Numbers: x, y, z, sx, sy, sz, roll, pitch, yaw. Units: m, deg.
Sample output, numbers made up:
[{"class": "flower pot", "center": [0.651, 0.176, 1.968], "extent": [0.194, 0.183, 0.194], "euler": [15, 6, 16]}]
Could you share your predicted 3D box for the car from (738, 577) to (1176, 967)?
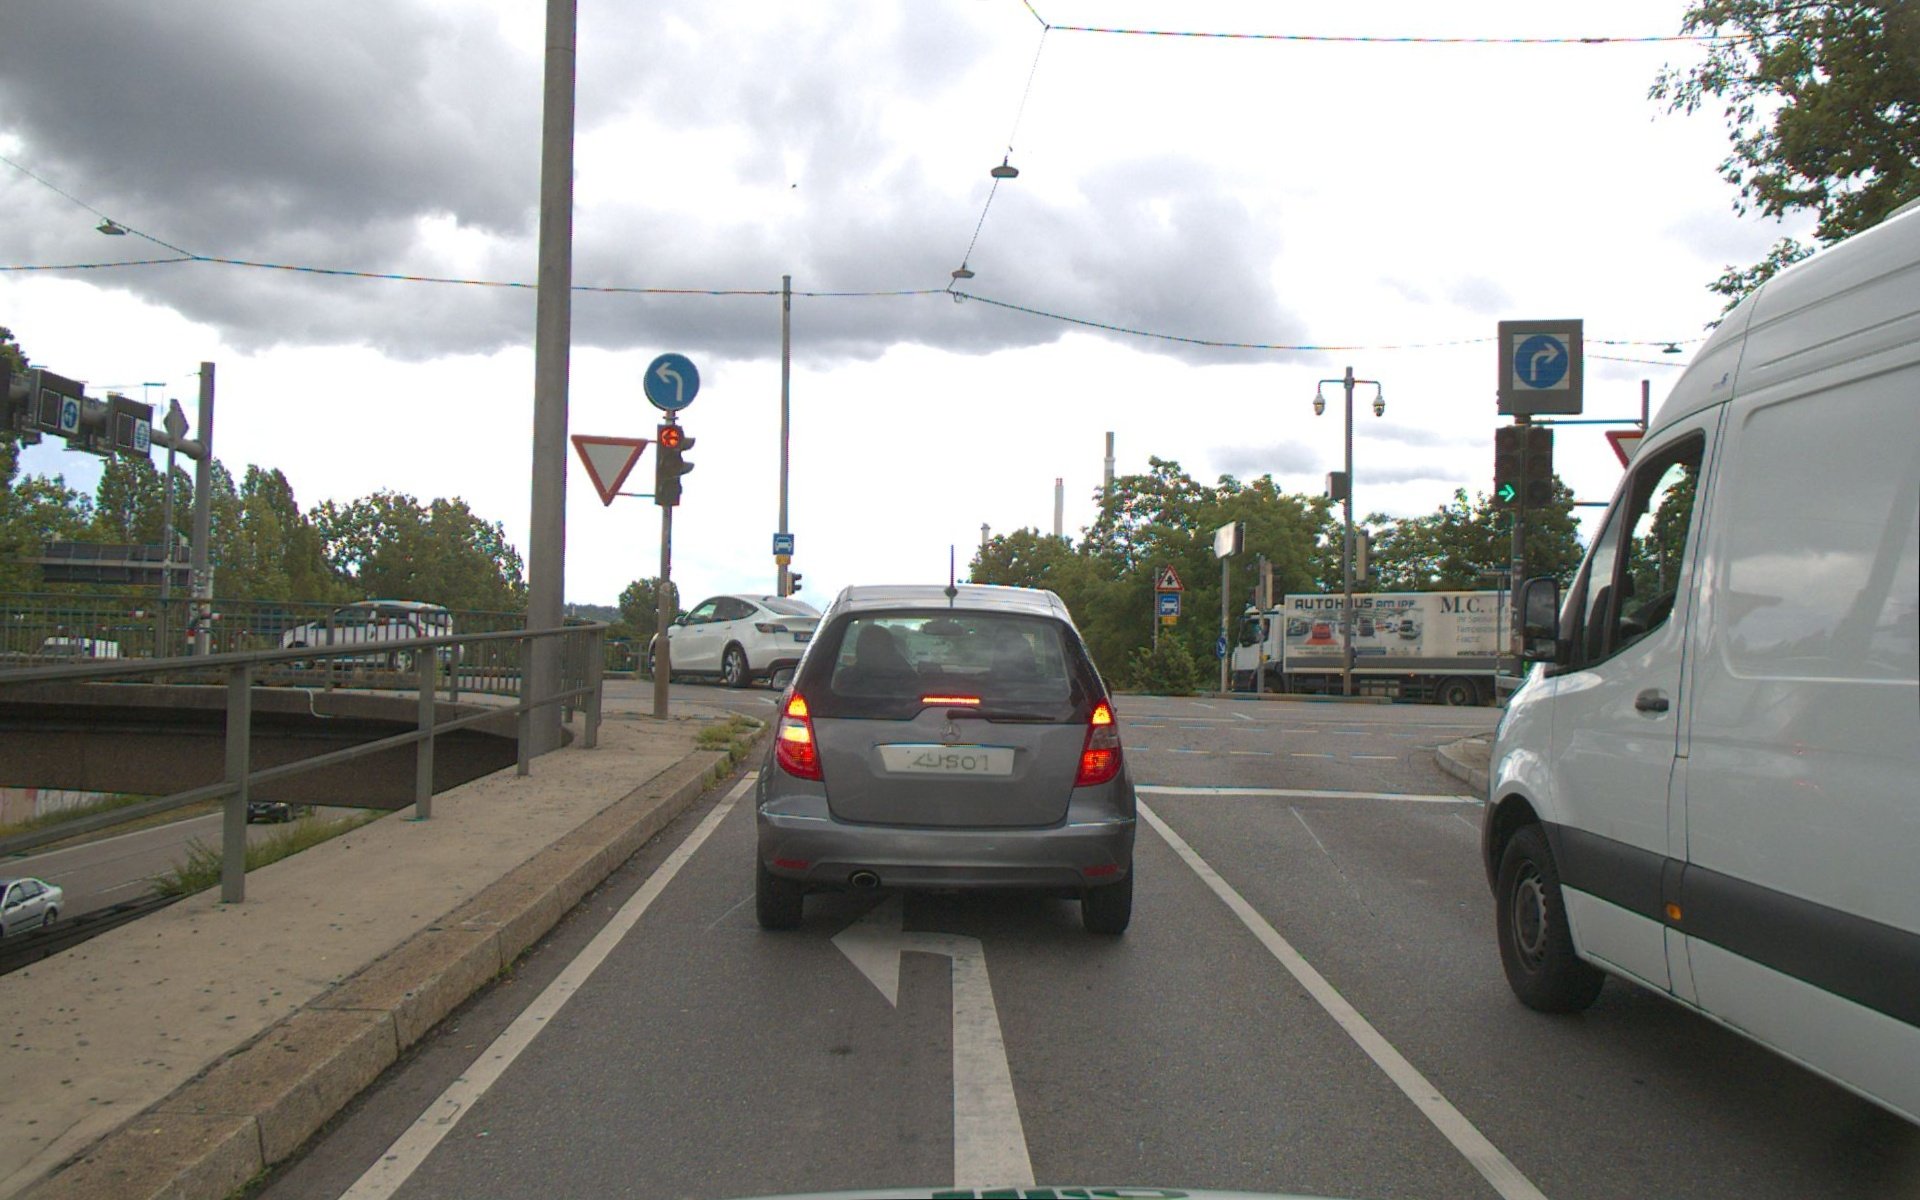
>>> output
[{"class": "car", "center": [0.030, 0.695, 8.941], "extent": [1.819, 1.616, 4.001], "euler": [1, 1, 1]}]

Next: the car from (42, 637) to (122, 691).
[{"class": "car", "center": [-39.154, 2.834, 73.837], "extent": [1.819, 2.254, 3.659], "euler": [1, 0, -5]}]

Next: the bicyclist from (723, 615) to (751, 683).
[{"class": "bicyclist", "center": [-5.748, 1.255, 42.604], "extent": [0.641, 1.703, 0.867], "euler": [1, 0, -11]}]

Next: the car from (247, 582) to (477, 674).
[{"class": "car", "center": [-12.030, 0.531, 33.402], "extent": [3.902, 1.747, 1.939], "euler": [1, 0, 11]}]

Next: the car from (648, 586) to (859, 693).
[{"class": "car", "center": [-3.779, 0.639, 29.616], "extent": [1.916, 1.747, 4.350], "euler": [0, 0, -36]}]

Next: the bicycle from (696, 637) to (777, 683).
[{"class": "bicycle", "center": [-5.762, 1.545, 42.590], "extent": [1.996, 1.144, 0.926], "euler": [1, 0, -12]}]

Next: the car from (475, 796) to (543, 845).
[{"class": "car", "center": [-17.394, 8.493, 63.947], "extent": [1.524, 1.580, 3.682], "euler": [1, -3, 1]}]

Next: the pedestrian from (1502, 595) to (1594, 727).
[{"class": "pedestrian", "center": [7.800, 0.819, 21.994], "extent": [0.816, 1.707, 0.978], "euler": [0, -3, -4]}]

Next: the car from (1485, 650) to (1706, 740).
[{"class": "car", "center": [13.110, 1.949, 34.289], "extent": [3.904, 1.694, 1.813], "euler": [1, 0, 1]}]

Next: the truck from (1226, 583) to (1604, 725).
[{"class": "truck", "center": [12.695, 1.370, 46.939], "extent": [10.047, 3.580, 2.787], "euler": [1, 0, 37]}]

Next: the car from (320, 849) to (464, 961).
[{"class": "car", "center": [-13.348, 7.150, 39.205], "extent": [1.911, 1.969, 4.892], "euler": [1, -3, -3]}]

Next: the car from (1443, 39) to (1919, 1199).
[{"class": "car", "center": [3.239, 0.132, 3.827], "extent": [2.068, 2.832, 6.777], "euler": [1, 0, -2]}]

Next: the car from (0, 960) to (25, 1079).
[{"class": "car", "center": [-15.992, 6.565, 24.448], "extent": [1.802, 1.743, 4.279], "euler": [0, -3, 1]}]

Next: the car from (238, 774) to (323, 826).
[{"class": "car", "center": [-29.387, 8.621, 71.674], "extent": [1.892, 1.874, 4.408], "euler": [0, -2, -1]}]

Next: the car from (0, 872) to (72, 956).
[{"class": "car", "center": [-22.961, 7.451, 39.113], "extent": [1.693, 1.555, 4.085], "euler": [1, -3, -1]}]
